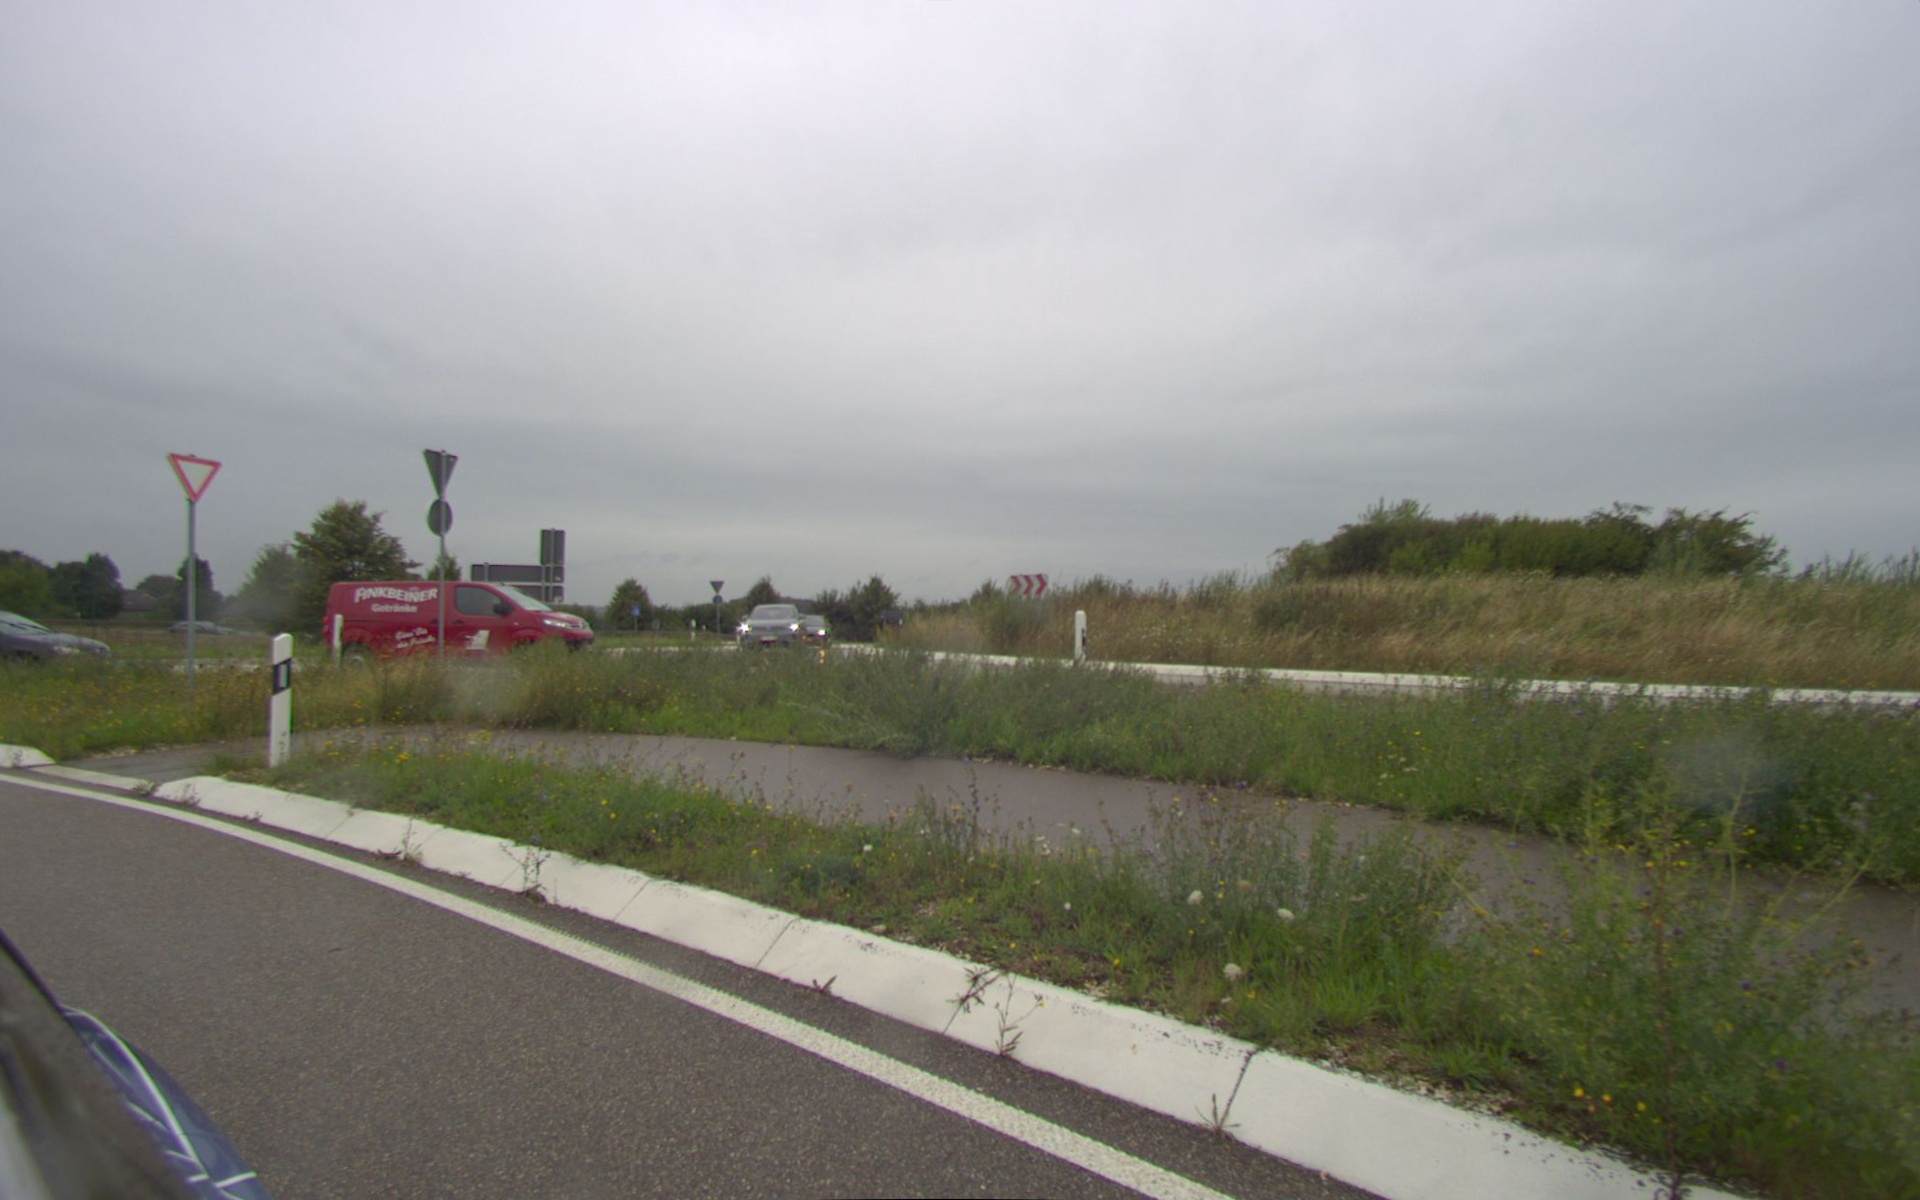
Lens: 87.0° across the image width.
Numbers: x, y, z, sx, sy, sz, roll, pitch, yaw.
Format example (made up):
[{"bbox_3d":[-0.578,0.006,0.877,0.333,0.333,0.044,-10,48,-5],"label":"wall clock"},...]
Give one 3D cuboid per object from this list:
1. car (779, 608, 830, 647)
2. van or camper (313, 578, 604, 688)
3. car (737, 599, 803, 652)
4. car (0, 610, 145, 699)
[{"bbox_3d":[-6.710,1.183,43.979,1.799,1.602,4.002,-1,-1,-3],"label":"car"},{"bbox_3d":[-9.805,0.618,20.101,4.775,2.029,2.001,1,0,-3],"label":"van or camper"},{"bbox_3d":[-6.130,0.804,33.014,1.968,1.586,4.509,0,-1,-9],"label":"car"},{"bbox_3d":[-18.549,1.016,19.101,4.449,1.615,2.005,1,-3,-13],"label":"car"}]
